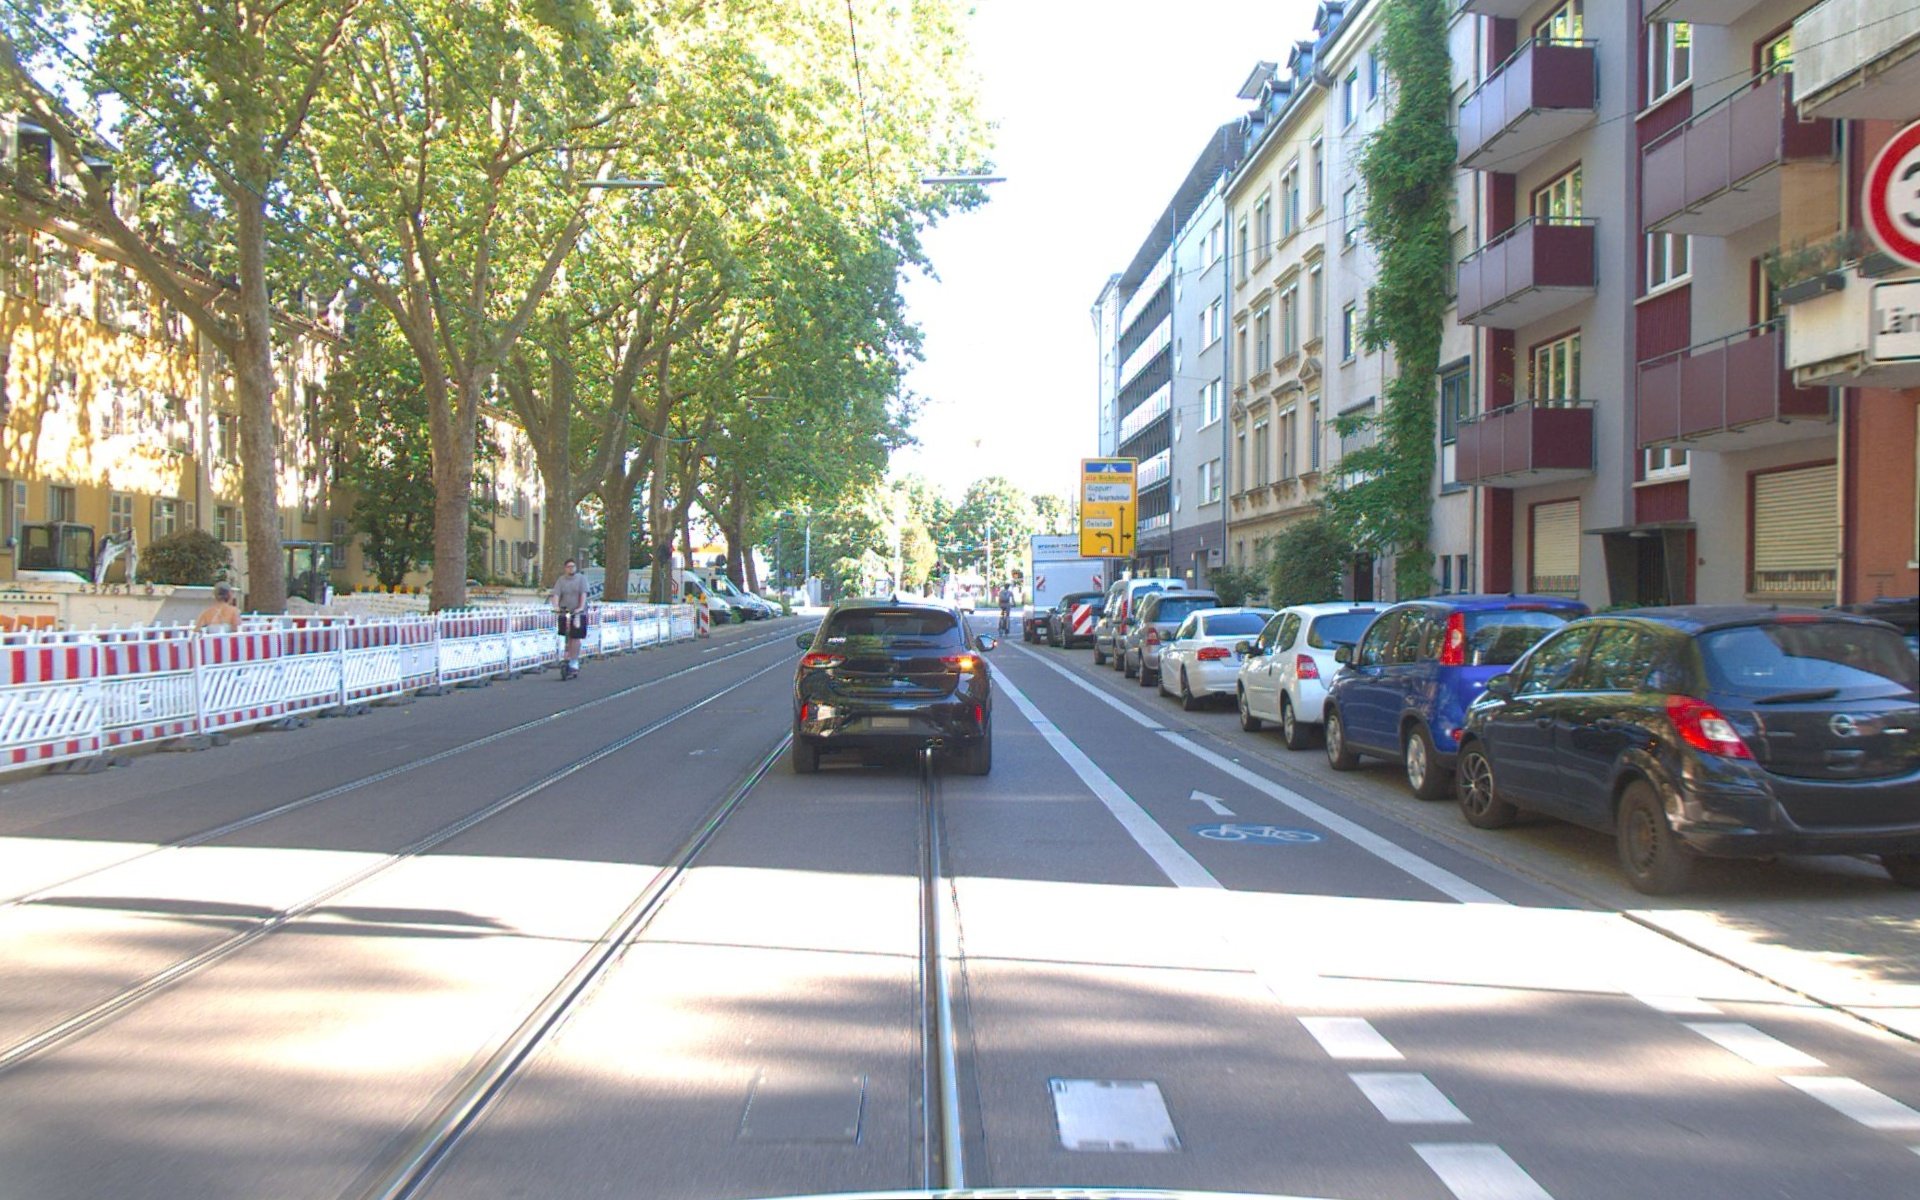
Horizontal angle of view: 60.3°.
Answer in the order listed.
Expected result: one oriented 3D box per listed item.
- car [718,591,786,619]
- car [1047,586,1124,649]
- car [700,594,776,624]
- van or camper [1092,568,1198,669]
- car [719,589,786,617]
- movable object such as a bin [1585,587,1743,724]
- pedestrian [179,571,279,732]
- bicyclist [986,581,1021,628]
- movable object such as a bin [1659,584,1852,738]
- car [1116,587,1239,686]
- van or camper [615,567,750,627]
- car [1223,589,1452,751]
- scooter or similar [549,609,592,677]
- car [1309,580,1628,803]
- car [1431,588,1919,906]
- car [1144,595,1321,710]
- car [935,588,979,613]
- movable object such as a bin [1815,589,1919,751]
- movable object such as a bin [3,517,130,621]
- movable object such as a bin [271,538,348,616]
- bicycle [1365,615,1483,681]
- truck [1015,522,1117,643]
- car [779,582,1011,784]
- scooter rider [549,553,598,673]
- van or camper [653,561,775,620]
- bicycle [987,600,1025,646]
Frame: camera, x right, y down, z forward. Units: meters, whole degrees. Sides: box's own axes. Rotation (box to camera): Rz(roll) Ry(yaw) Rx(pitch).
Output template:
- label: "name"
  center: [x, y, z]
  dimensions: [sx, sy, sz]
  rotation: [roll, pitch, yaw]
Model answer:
- label: "car"
  center: [-12.665, 0.302, 100.770]
  dimensions: [3.905, 1.541, 1.649]
  rotation: [2, 0, 0]
- label: "car"
  center: [3.393, 0.458, 45.451]
  dimensions: [1.695, 1.584, 4.151]
  rotation: [-2, 0, -1]
- label: "car"
  center: [-12.138, 0.502, 90.701]
  dimensions: [3.905, 1.541, 1.649]
  rotation: [2, 0, 0]
- label: "van or camper"
  center: [3.734, 0.342, 33.978]
  dimensions: [1.635, 1.915, 4.210]
  rotation: [-1, 0, -1]
- label: "car"
  center: [-13.042, 0.197, 104.045]
  dimensions: [4.086, 1.700, 1.963]
  rotation: [0, 0, -5]
- label: "movable object such as a bin"
  center: [7.392, 0.558, 17.451]
  dimensions: [0.905, 1.350, 1.681]
  rotation: [1, 0, -1]
- label: "pedestrian"
  center: [-7.952, 0.546, 18.028]
  dimensions: [0.702, 1.698, 0.778]
  rotation: [1, 0, -1]
- label: "bicyclist"
  center: [1.571, 0.160, 59.624]
  dimensions: [1.066, 1.676, 1.402]
  rotation: [1, 0, 10]
- label: "movable object such as a bin"
  center: [7.451, 0.546, 15.587]
  dimensions: [0.947, 1.350, 1.721]
  rotation: [1, 0, -1]
- label: "car"
  center: [3.761, 0.588, 29.119]
  dimensions: [1.626, 1.608, 3.588]
  rotation: [-1, 0, -1]
- label: "van or camper"
  center: [-12.020, -0.123, 71.870]
  dimensions: [5.387, 2.421, 2.270]
  rotation: [2, 0, 2]
- label: "car"
  center: [4.031, 0.693, 18.242]
  dimensions: [1.559, 1.553, 3.834]
  rotation: [-2, 0, -1]
- label: "scooter or similar"
  center: [-6.583, 0.711, 27.973]
  dimensions: [0.399, 1.102, 1.338]
  rotation: [1, 0, -1]
- label: "car"
  center: [4.157, 0.679, 14.110]
  dimensions: [1.495, 1.618, 3.751]
  rotation: [1, 0, -1]
- label: "car"
  center: [4.315, 0.696, 9.997]
  dimensions: [1.698, 1.487, 3.915]
  rotation: [-1, 1, -2]
- label: "car"
  center: [3.844, 0.682, 24.088]
  dimensions: [1.626, 1.424, 4.738]
  rotation: [-1, 1, -2]
- label: "car"
  center: [-0.236, -0.001, 119.161]
  dimensions: [1.961, 1.725, 4.721]
  rotation: [-2, 1, -15]
- label: "movable object such as a bin"
  center: [8.186, 0.600, 14.326]
  dimensions: [1.129, 1.350, 0.775]
  rotation: [1, 0, -1]
- label: "movable object such as a bin"
  center: [-17.054, -0.576, 31.635]
  dimensions: [1.306, 1.901, 2.007]
  rotation: [1, 0, -1]
- label: "movable object such as a bin"
  center: [-14.407, -0.499, 36.674]
  dimensions: [1.075, 1.674, 1.559]
  rotation: [1, 0, -1]
- label: "bicycle"
  center: [7.829, 0.808, 27.945]
  dimensions: [1.854, 1.047, 0.476]
  rotation: [-1, 0, 4]
- label: "truck"
  center: [3.184, -0.503, 51.346]
  dimensions: [2.487, 3.396, 7.193]
  rotation: [-2, 0, -1]
- label: "car"
  center: [-0.554, 0.618, 14.686]
  dimensions: [1.745, 1.522, 3.999]
  rotation: [1, 0, -2]
- label: "scooter rider"
  center: [-6.539, 0.223, 28.026]
  dimensions: [0.636, 1.991, 0.624]
  rotation: [1, 0, -1]
- label: "van or camper"
  center: [-12.032, -0.444, 81.191]
  dimensions: [5.607, 2.690, 2.269]
  rotation: [2, 0, -1]
- label: "bicycle"
  center: [1.680, 0.800, 59.814]
  dimensions: [0.896, 1.588, 3.408]
  rotation: [1, 0, 9]
